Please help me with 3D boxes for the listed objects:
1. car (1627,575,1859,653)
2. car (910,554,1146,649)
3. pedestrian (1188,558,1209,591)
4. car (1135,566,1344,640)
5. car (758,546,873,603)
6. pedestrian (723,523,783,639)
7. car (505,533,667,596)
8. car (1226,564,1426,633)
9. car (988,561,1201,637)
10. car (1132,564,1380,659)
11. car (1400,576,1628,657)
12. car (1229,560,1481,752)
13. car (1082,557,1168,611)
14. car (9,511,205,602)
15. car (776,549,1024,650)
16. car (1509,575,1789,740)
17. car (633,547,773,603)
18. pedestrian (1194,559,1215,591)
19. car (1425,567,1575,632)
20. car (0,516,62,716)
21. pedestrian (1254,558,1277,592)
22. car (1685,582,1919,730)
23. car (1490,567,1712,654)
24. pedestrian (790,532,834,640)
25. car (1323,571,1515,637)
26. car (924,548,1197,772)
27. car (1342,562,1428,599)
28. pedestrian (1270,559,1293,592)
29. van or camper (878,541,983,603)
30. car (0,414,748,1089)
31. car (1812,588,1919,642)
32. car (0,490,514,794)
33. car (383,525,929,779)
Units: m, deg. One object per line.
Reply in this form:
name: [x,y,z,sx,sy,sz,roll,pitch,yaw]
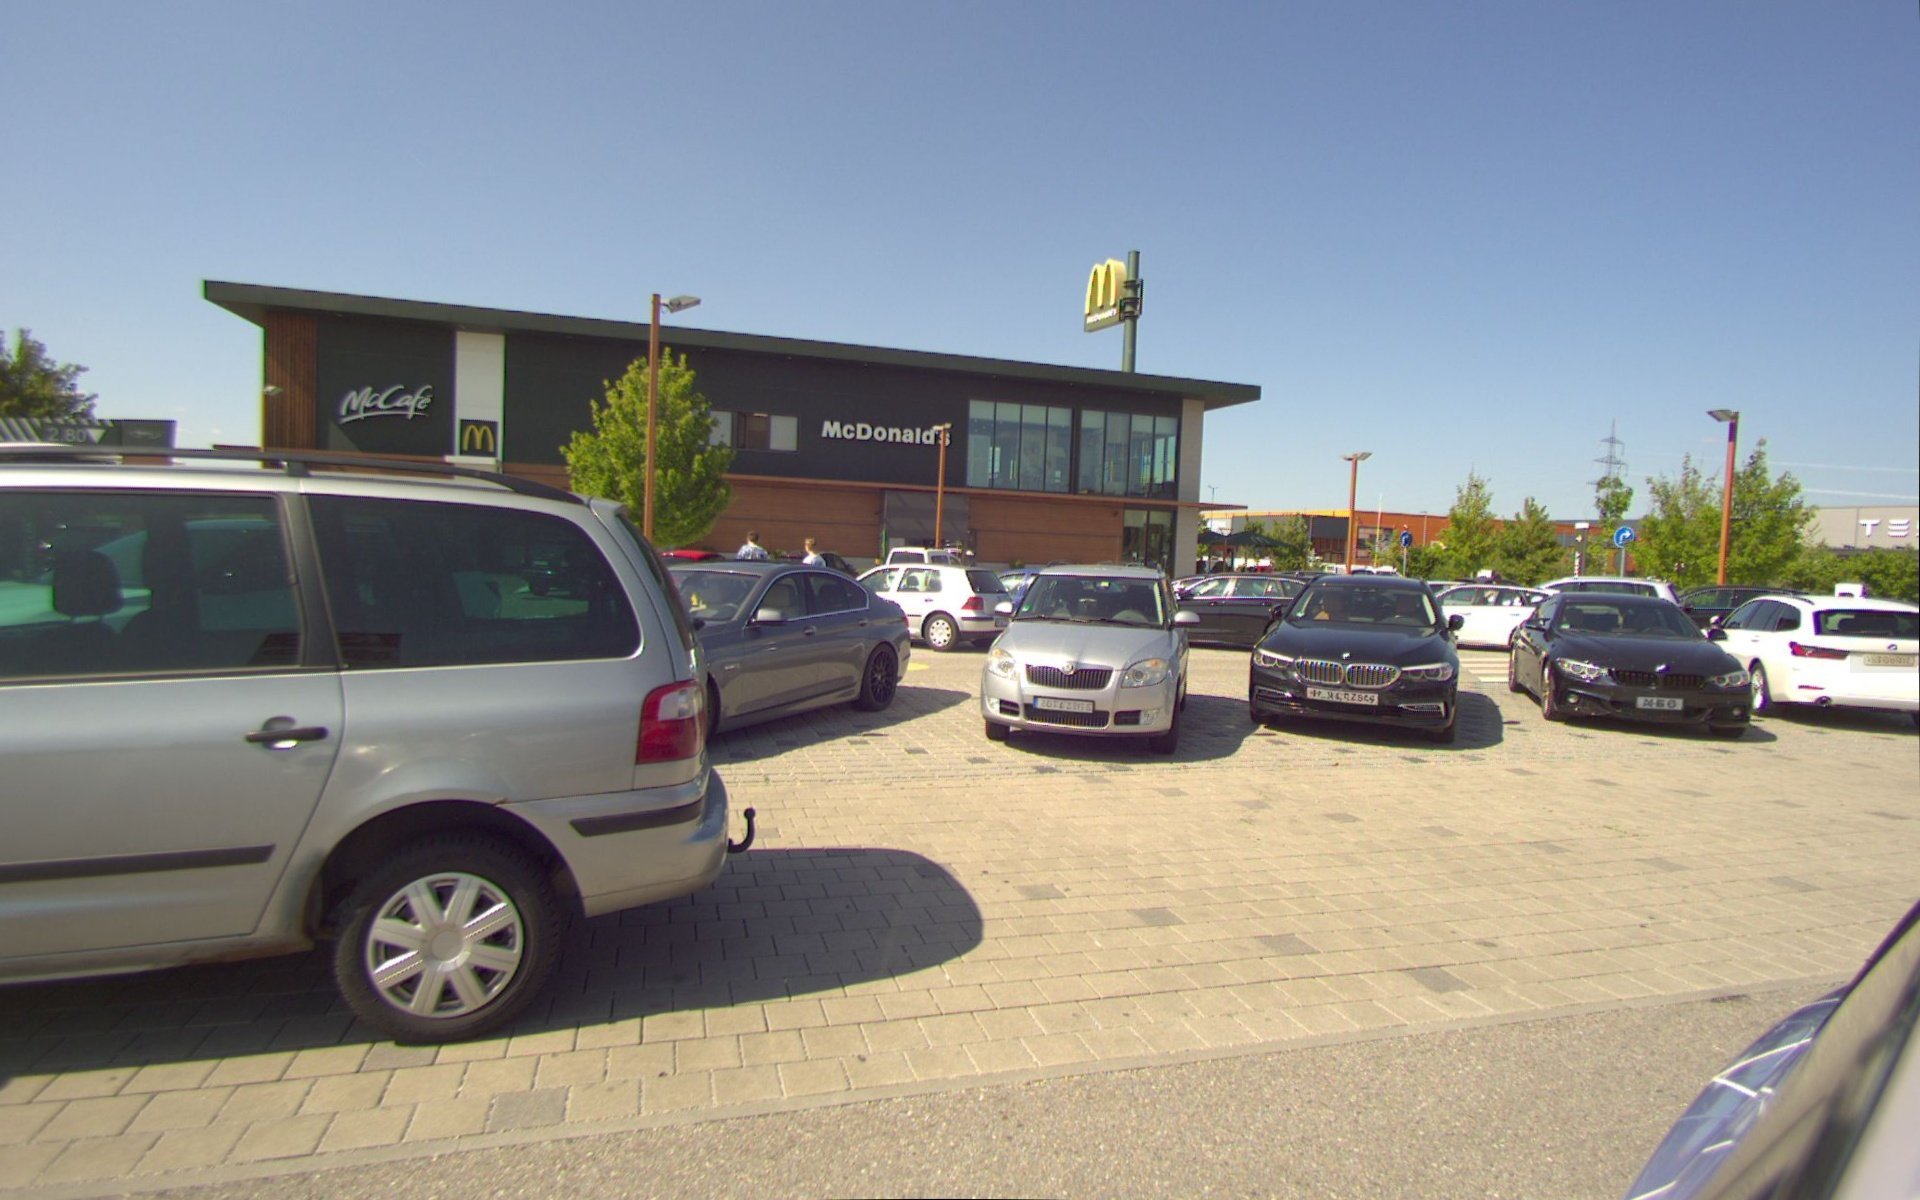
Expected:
car: [18.302,0.271,23.902,3.961,1.571,1.739,3,2,26]
car: [1.265,-0.045,19.185,4.079,1.533,1.795,3,3,29]
pedestrian: [11.587,-1.223,49.184,0.700,1.579,0.710,4,2,44]
car: [6.810,0.000,24.787,4.605,1.505,1.877,3,3,29]
car: [-4.309,-0.796,30.799,1.695,1.533,3.922,4,3,22]
pedestrian: [-3.468,-0.322,16.932,0.816,1.872,0.772,1,2,-21]
car: [-10.773,-1.027,29.498,1.940,1.622,4.435,3,2,22]
car: [9.463,-0.096,26.262,4.605,1.505,1.877,3,3,29]
car: [3.148,-0.100,23.890,4.605,1.505,1.877,3,3,29]
car: [5.631,0.140,19.386,4.243,1.505,1.795,3,3,29]
car: [11.768,0.279,21.731,4.079,1.430,1.795,3,3,29]
car: [4.312,0.395,10.825,1.955,1.505,4.743,3,2,25]
car: [5.583,-0.553,33.937,1.701,1.632,3.999,3,2,26]
car: [-18.246,-0.961,21.919,1.955,1.711,4.247,2,3,-21]
car: [-1.091,-0.081,17.831,4.079,1.511,1.695,3,3,29]
car: [7.734,0.485,11.842,1.816,1.477,4.337,3,2,23]
car: [-7.553,-0.753,30.212,1.938,1.483,4.440,3,2,19]
pedestrian: [12.382,-1.246,51.203,0.700,1.579,0.710,4,2,44]
car: [16.857,-0.063,31.652,3.932,1.797,1.634,4,2,34]
car: [-8.858,0.119,6.534,1.951,1.545,4.181,3,2,20]
pedestrian: [14.596,-1.195,48.396,0.687,1.578,0.724,1,2,-16]
car: [10.818,0.565,12.716,1.817,1.477,4.547,3,2,24]
car: [14.512,0.158,23.215,4.079,1.694,1.795,3,3,29]
pedestrian: [-2.507,-0.239,17.147,0.546,1.790,0.464,3,2,21]
car: [12.519,0.050,27.710,4.605,1.505,1.877,3,3,29]
car: [1.185,0.357,9.527,1.946,1.545,4.190,3,2,14]
car: [20.069,-0.944,47.964,1.727,1.581,3.893,2,2,-13]
pedestrian: [15.576,-1.185,49.063,0.687,1.578,0.724,1,2,-16]
van or camper: [-0.866,-0.898,32.094,1.694,1.797,3.994,3,2,25]
car: [-3.155,0.344,3.389,4.584,1.769,1.838,1,3,-18]
car: [29.923,0.507,31.908,1.803,1.497,4.344,2,3,-16]
car: [-5.690,0.137,7.734,1.948,1.675,4.187,3,2,16]
car: [-2.187,0.245,8.892,1.954,1.545,4.808,3,2,23]
